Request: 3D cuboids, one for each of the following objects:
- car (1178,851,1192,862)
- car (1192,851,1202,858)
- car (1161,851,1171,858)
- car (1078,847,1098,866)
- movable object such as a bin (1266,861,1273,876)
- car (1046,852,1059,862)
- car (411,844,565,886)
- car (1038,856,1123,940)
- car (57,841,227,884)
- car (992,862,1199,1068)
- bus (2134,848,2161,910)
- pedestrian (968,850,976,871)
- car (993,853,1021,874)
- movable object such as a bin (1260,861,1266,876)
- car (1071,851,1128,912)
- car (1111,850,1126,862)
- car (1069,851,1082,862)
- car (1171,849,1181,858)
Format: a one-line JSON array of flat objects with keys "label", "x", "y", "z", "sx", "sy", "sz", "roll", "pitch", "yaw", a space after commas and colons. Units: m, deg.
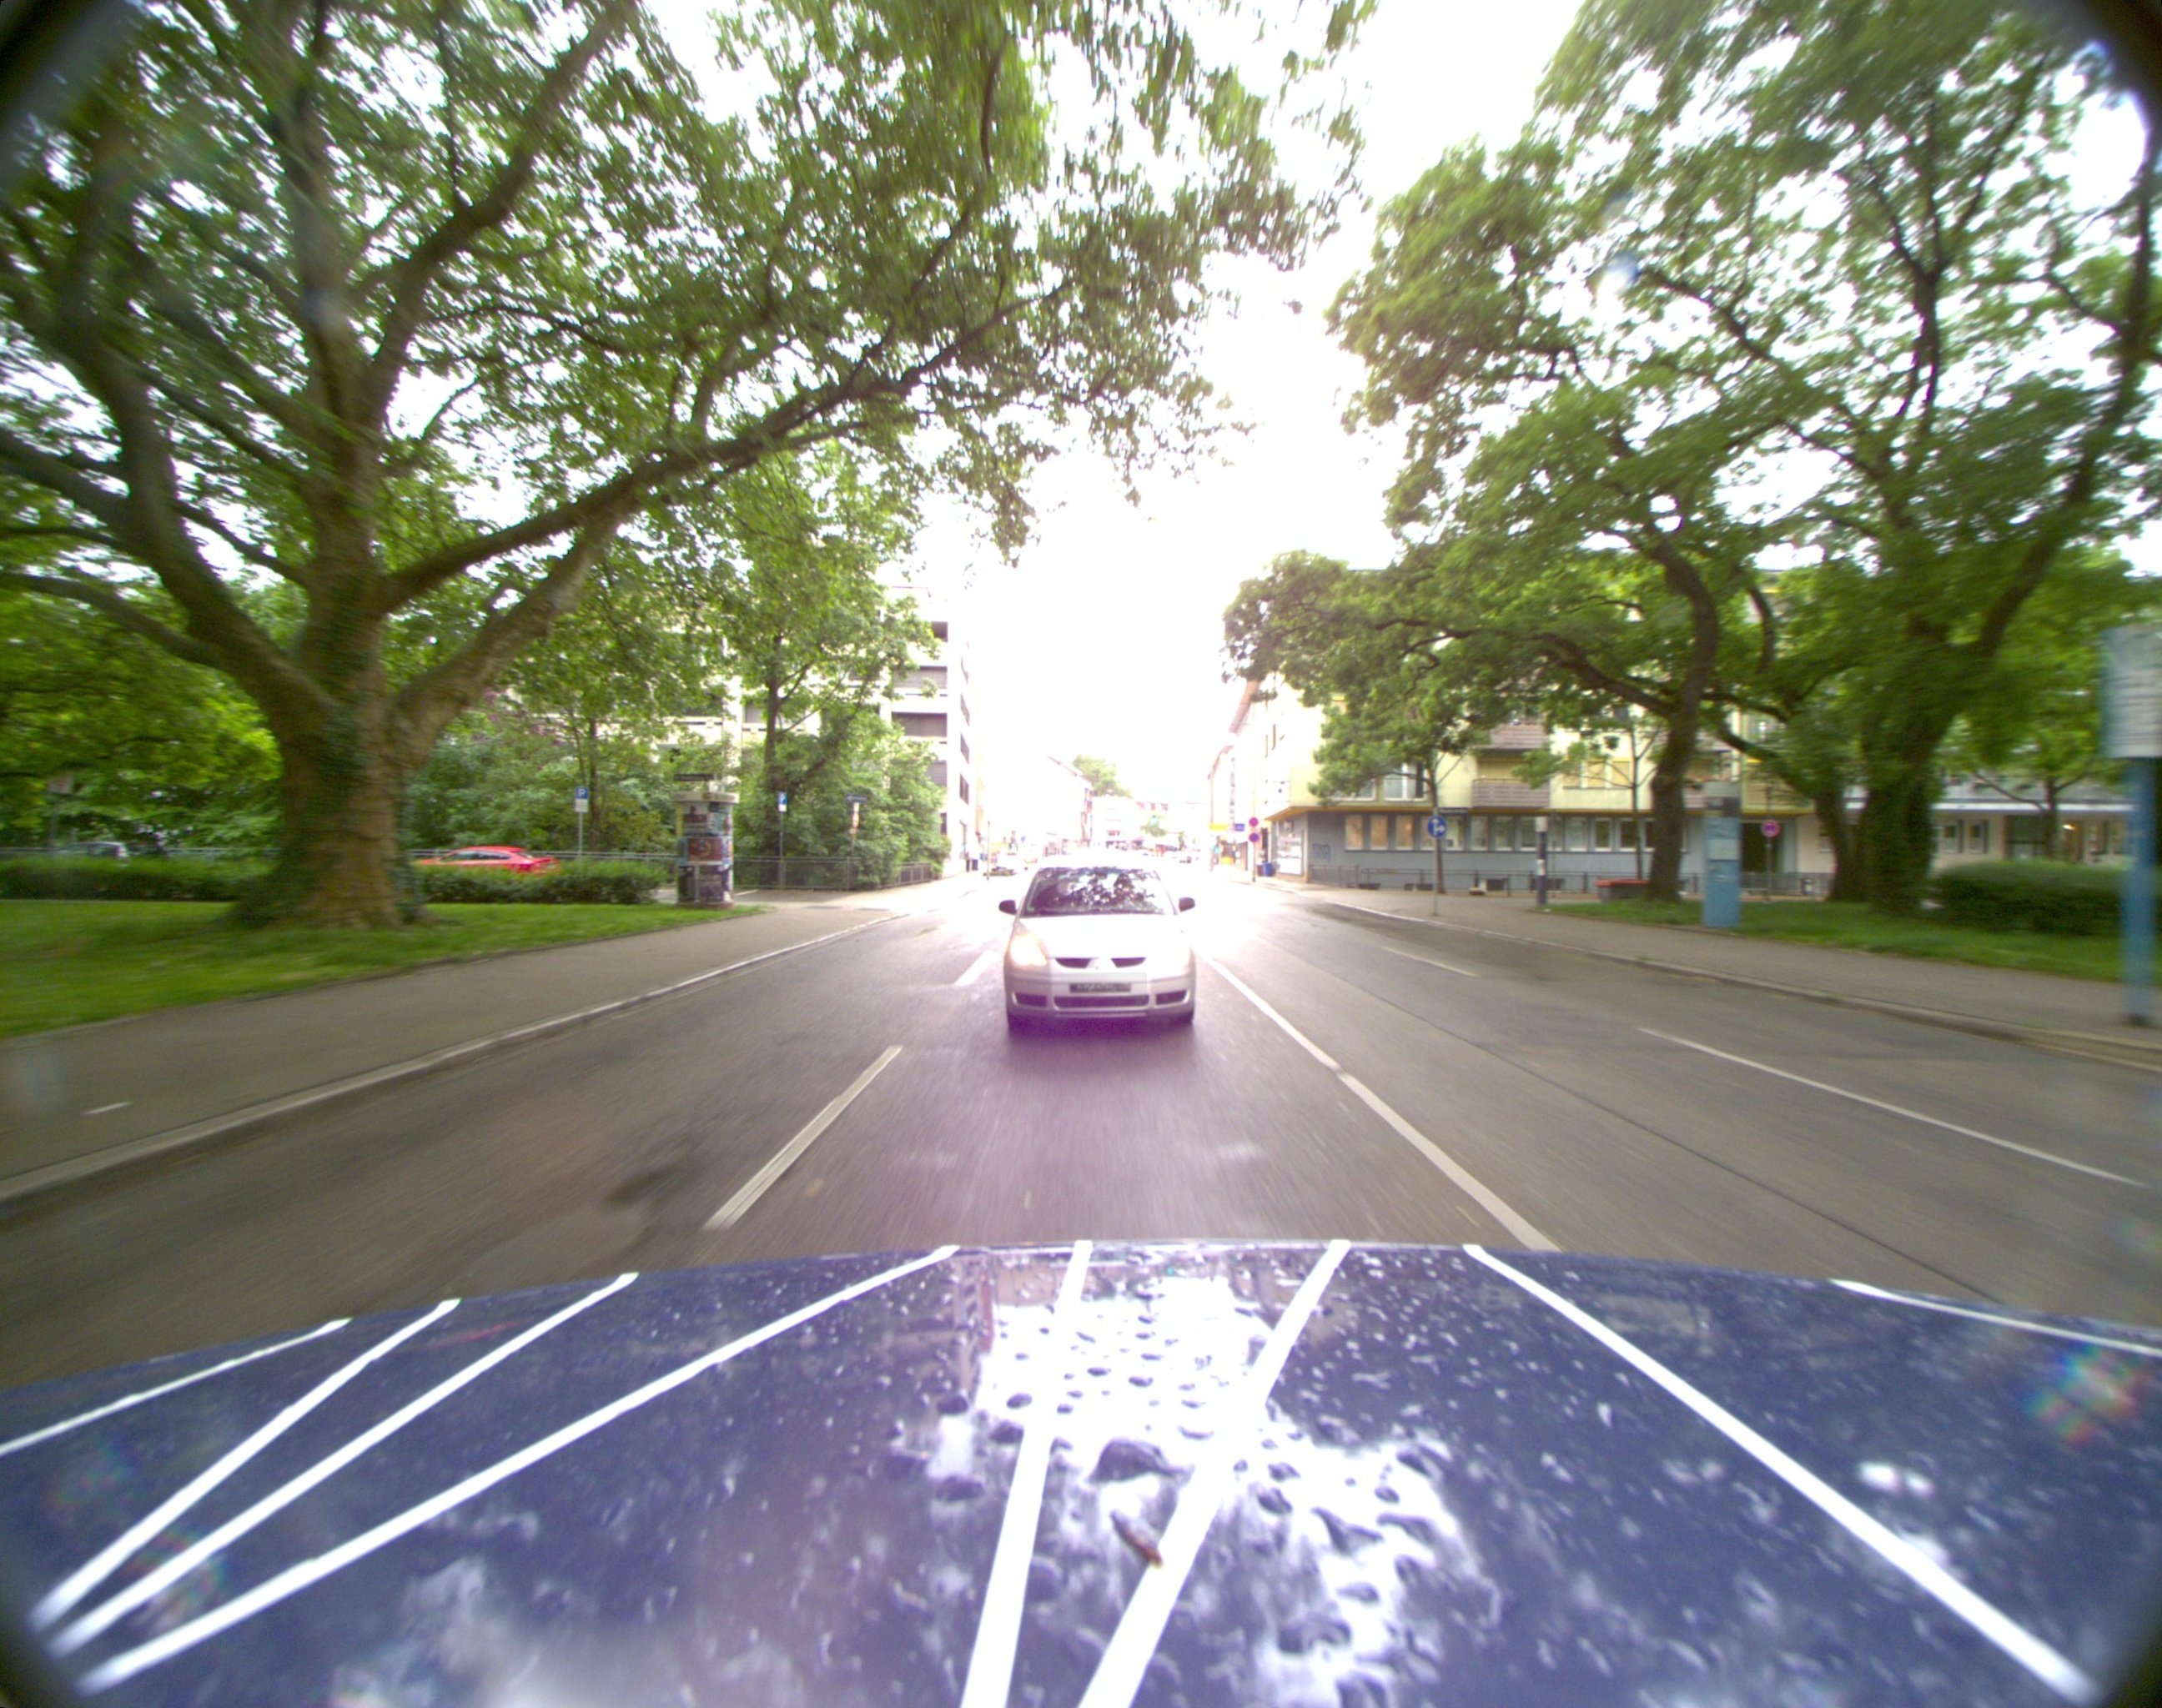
[{"label": "car", "x": 17.037, "y": 0.405, "z": 124.763, "sx": 1.889, "sy": 1.707, "sz": 4.001, "roll": 1, "pitch": 0, "yaw": 4}, {"label": "car", "x": 26.054, "y": 0.127, "z": 170.094, "sx": 1.867, "sy": 1.648, "sz": 4.001, "roll": 1, "pitch": 0, "yaw": 4}, {"label": "car", "x": 18.630, "y": 0.126, "z": 166.058, "sx": 1.998, "sy": 1.631, "sz": 4.001, "roll": 1, "pitch": 0, "yaw": 4}, {"label": "car", "x": 0.705, "y": 0.183, "z": 76.909, "sx": 1.935, "sy": 1.817, "sz": 3.999, "roll": -1, "pitch": 1, "yaw": 0}, {"label": "movable object such as a bin", "x": 12.888, "y": 0.989, "z": 51.984, "sx": 0.415, "sy": 1.023, "sz": 0.353, "roll": 1, "pitch": 1, "yaw": 8}, {"label": "car", "x": -3.957, "y": 0.388, "z": 106.216, "sx": 1.802, "sy": 1.433, "sz": 3.896, "roll": 1, "pitch": 0, "yaw": -1}, {"label": "car", "x": -19.465, "y": 0.343, "z": 25.056, "sx": 3.790, "sy": 1.271, "sz": 1.576, "roll": 1, "pitch": 1, "yaw": -3}, {"label": "car", "x": 0.060, "y": 0.846, "z": 16.405, "sx": 1.590, "sy": 1.540, "sz": 3.771, "roll": 1, "pitch": 0, "yaw": 2}, {"label": "car", "x": -30.162, "y": 0.270, "z": 24.490, "sx": 3.468, "sy": 1.271, "sz": 1.448, "roll": 1, "pitch": 1, "yaw": -5}, {"label": "car", "x": 0.133, "y": 0.877, "z": 7.505, "sx": 1.576, "sy": 1.514, "sz": 3.240, "roll": -1, "pitch": 1, "yaw": 1}, {"label": "bus", "x": 34.791, "y": 0.796, "z": 23.316, "sx": 3.731, "sy": 1.913, "sz": 1.711, "roll": 1, "pitch": 1, "yaw": -16}, {"label": "pedestrian", "x": -8.350, "y": 0.495, "z": 58.179, "sx": 0.480, "sy": 1.521, "sz": 0.481, "roll": -2, "pitch": 1, "yaw": 0}, {"label": "car", "x": -5.538, "y": 0.711, "z": 57.205, "sx": 1.681, "sy": 1.424, "sz": 3.681, "roll": 4, "pitch": 0, "yaw": 0}, {"label": "movable object such as a bin", "x": 12.449, "y": 0.966, "z": 52.046, "sx": 0.338, "sy": 1.023, "sz": 0.353, "roll": 1, "pitch": 1, "yaw": 8}, {"label": "car", "x": 0.522, "y": 0.776, "z": 23.551, "sx": 1.584, "sy": 1.705, "sz": 3.648, "roll": 1, "pitch": 0, "yaw": 0}, {"label": "car", "x": 4.533, "y": 0.201, "z": 92.633, "sx": 1.701, "sy": 1.433, "sz": 3.897, "roll": 1, "pitch": 0, "yaw": 0}, {"label": "car", "x": -0.802, "y": 0.344, "z": 111.220, "sx": 1.802, "sy": 1.433, "sz": 3.897, "roll": 1, "pitch": 0, "yaw": 0}, {"label": "car", "x": 21.274, "y": -0.097, "z": 171.045, "sx": 1.998, "sy": 1.841, "sz": 4.001, "roll": 1, "pitch": 0, "yaw": 4}]
